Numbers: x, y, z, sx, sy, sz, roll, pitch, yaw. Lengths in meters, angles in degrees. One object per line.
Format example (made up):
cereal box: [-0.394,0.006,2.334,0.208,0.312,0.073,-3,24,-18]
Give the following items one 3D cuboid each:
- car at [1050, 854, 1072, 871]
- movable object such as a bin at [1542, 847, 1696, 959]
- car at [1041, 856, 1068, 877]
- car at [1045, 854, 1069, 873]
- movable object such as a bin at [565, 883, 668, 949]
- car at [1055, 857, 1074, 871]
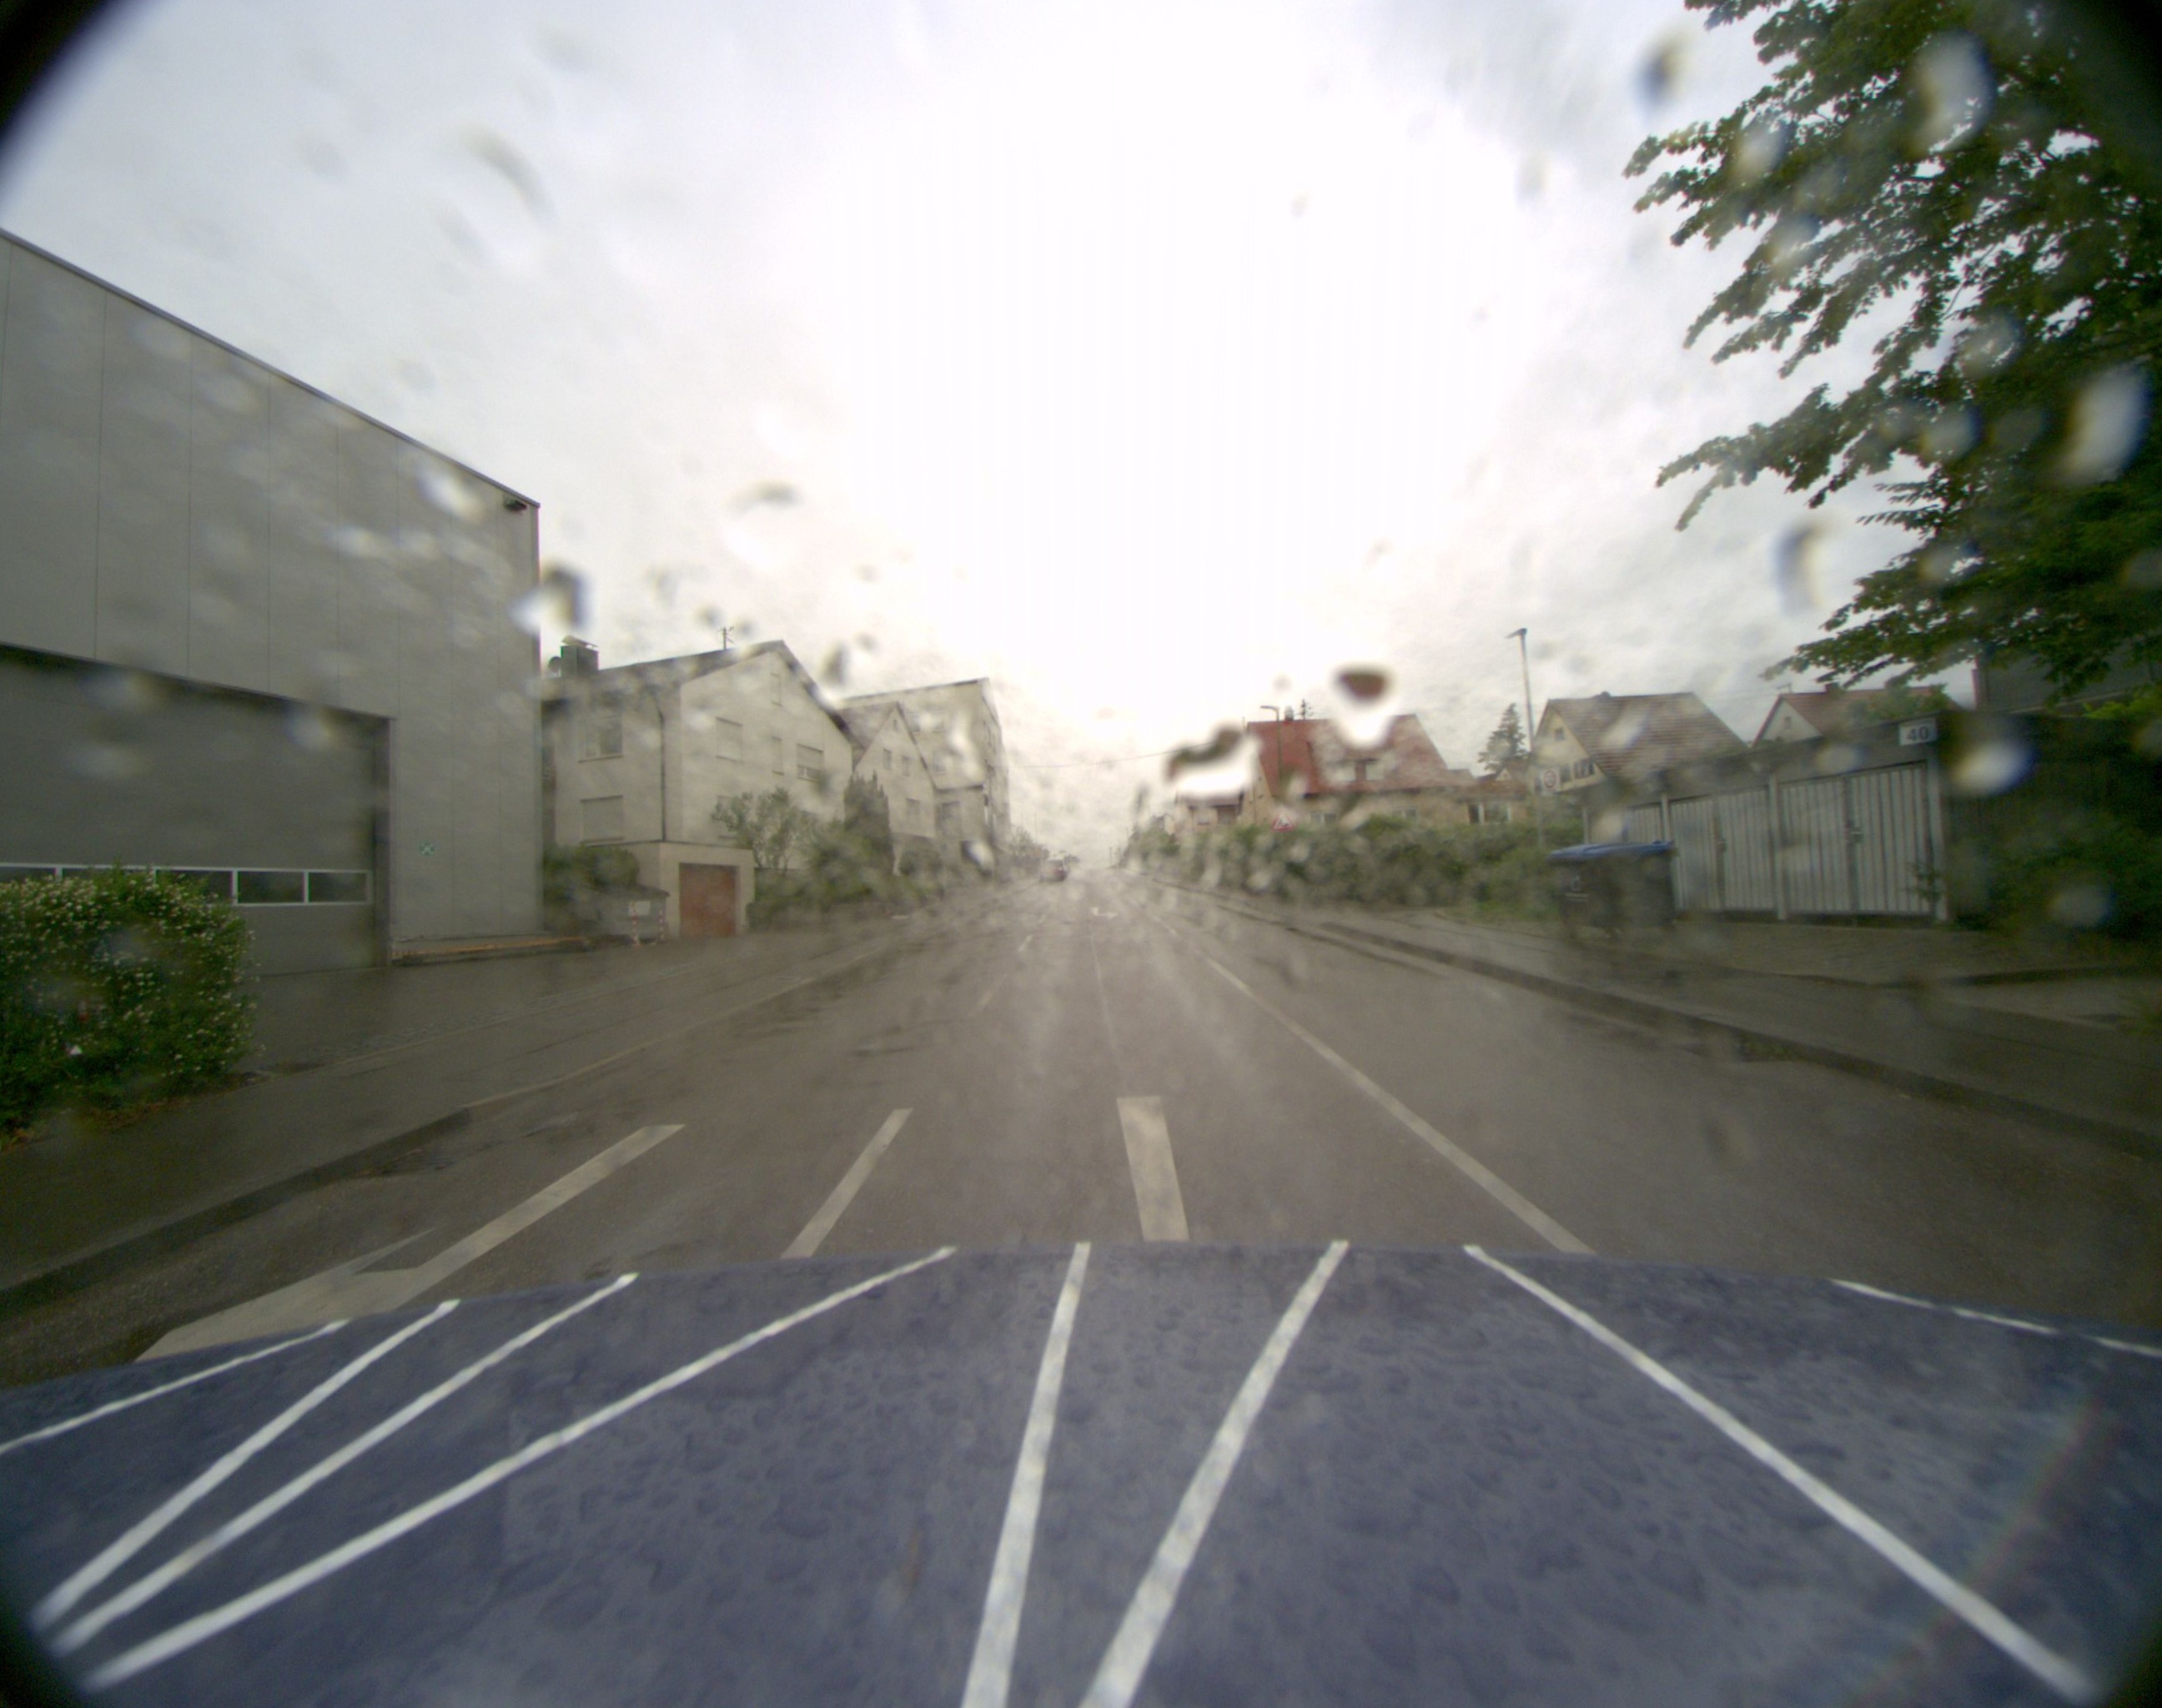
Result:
car: [-1.868,0.826,73.615,1.848,1.514,4.001,-2,0,2]
movable object such as a bin: [7.155,0.631,10.195,1.056,1.289,1.202,-7,-1,1]
car: [-2.058,0.966,60.773,1.848,1.514,4.001,-2,0,2]
car: [-2.084,0.824,67.215,1.848,1.514,4.001,-2,0,2]
movable object such as a bin: [-11.568,1.524,18.974,1.446,1.526,1.591,-2,-1,16]
car: [-1.881,1.150,85.917,1.848,1.514,4.001,-2,0,2]
